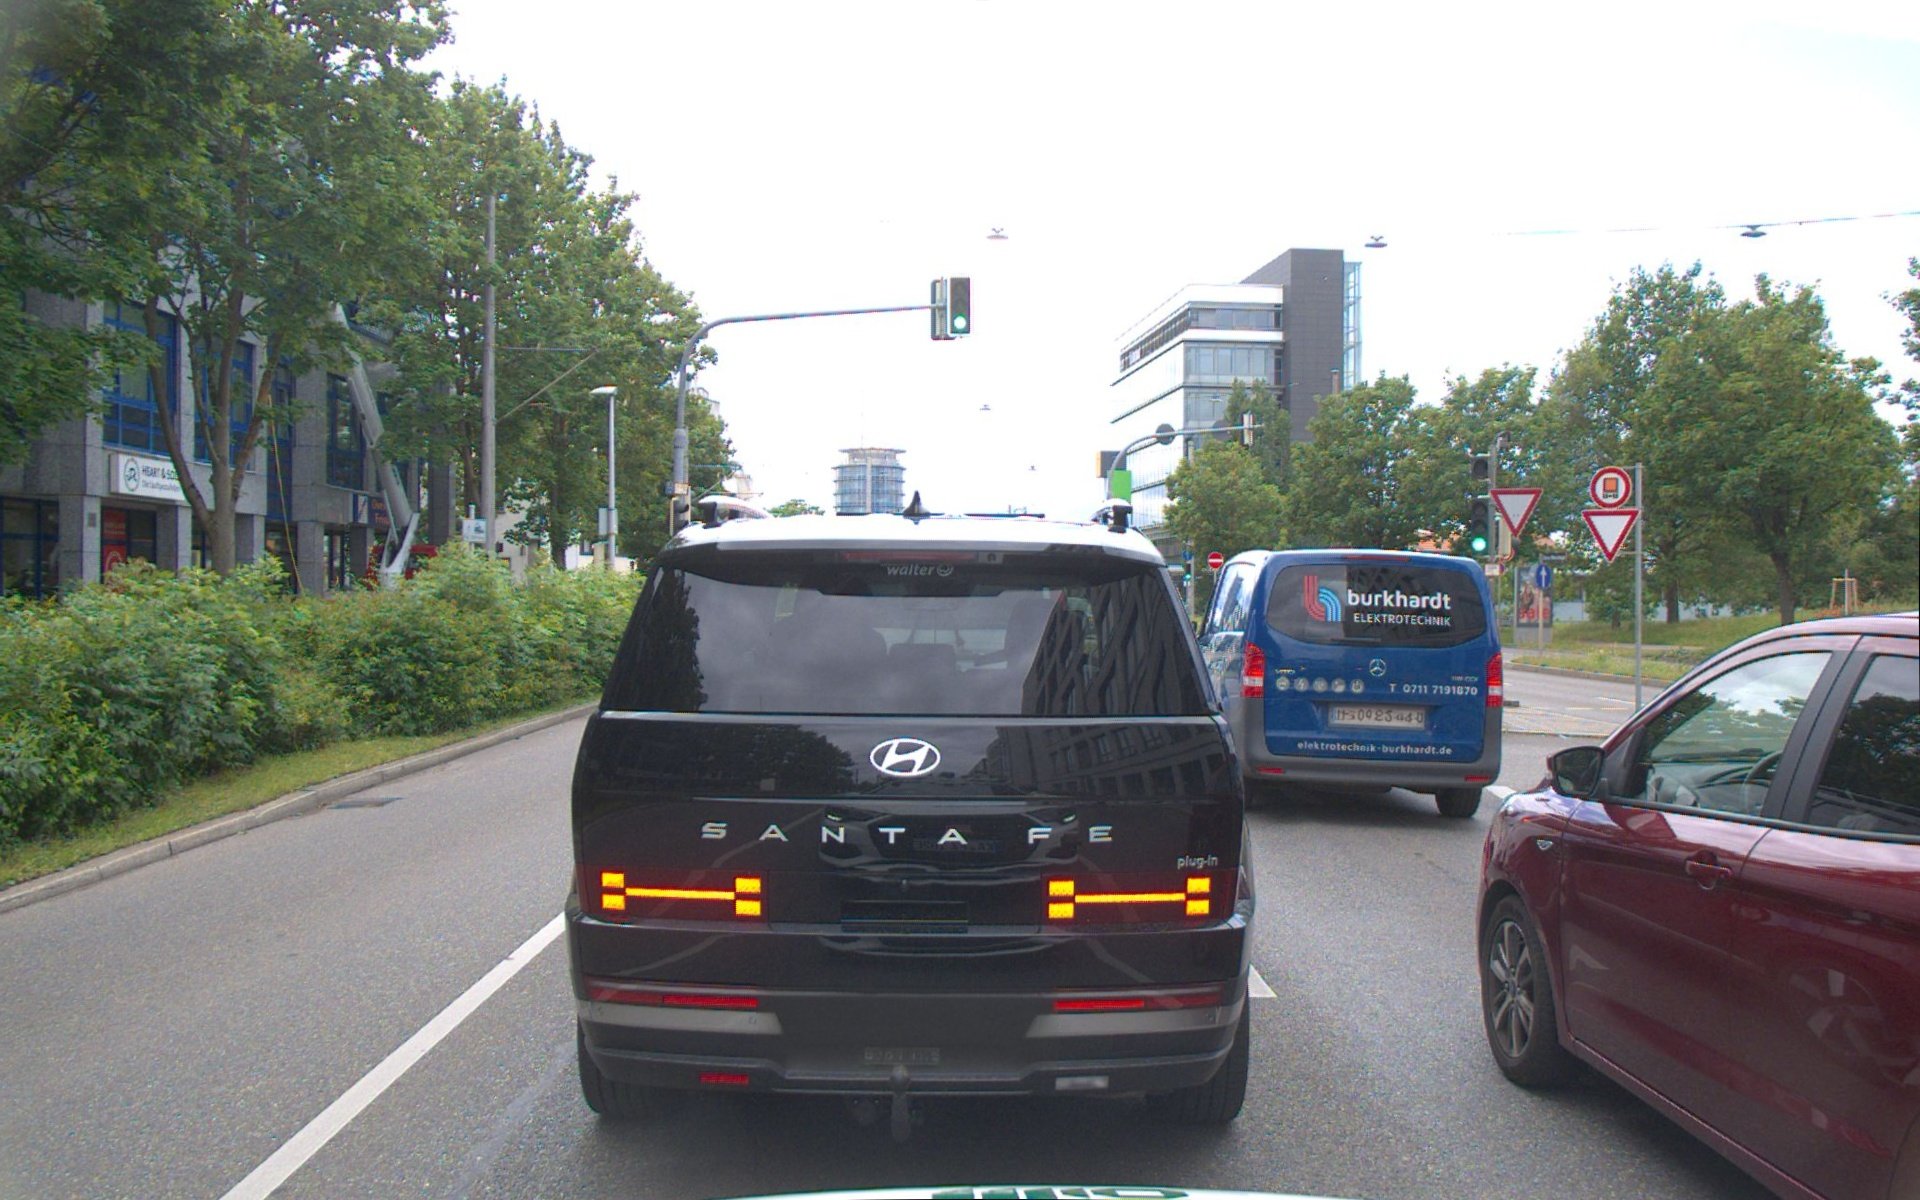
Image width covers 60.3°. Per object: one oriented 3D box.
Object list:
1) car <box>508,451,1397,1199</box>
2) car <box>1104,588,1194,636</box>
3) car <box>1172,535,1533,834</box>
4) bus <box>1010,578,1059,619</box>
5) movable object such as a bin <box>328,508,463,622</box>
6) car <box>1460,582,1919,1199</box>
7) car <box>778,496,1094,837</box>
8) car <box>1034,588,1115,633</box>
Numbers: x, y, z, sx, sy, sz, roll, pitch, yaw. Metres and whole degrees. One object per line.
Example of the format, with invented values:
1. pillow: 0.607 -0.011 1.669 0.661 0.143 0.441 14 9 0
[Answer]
1. car: -0.045 0.577 5.775 1.863 1.762 4.445 2 0 -1
2. car: 6.801 0.408 60.074 1.856 1.591 4.381 2 1 -13
3. car: 2.859 0.537 13.152 1.862 1.891 4.711 2 0 2
4. bus: 5.932 -0.076 133.314 2.908 3.171 9.236 -1 0 -4
5. movable object such as a bin: -13.728 -0.836 40.482 1.867 2.575 4.126 3 1 -2
6. car: 2.671 0.736 3.909 1.710 1.507 3.717 1 0 -2
7. car: -0.006 0.388 12.328 1.862 2.003 4.638 2 0 3
8. car: 4.026 0.350 58.730 1.751 1.450 4.384 2 1 -11
